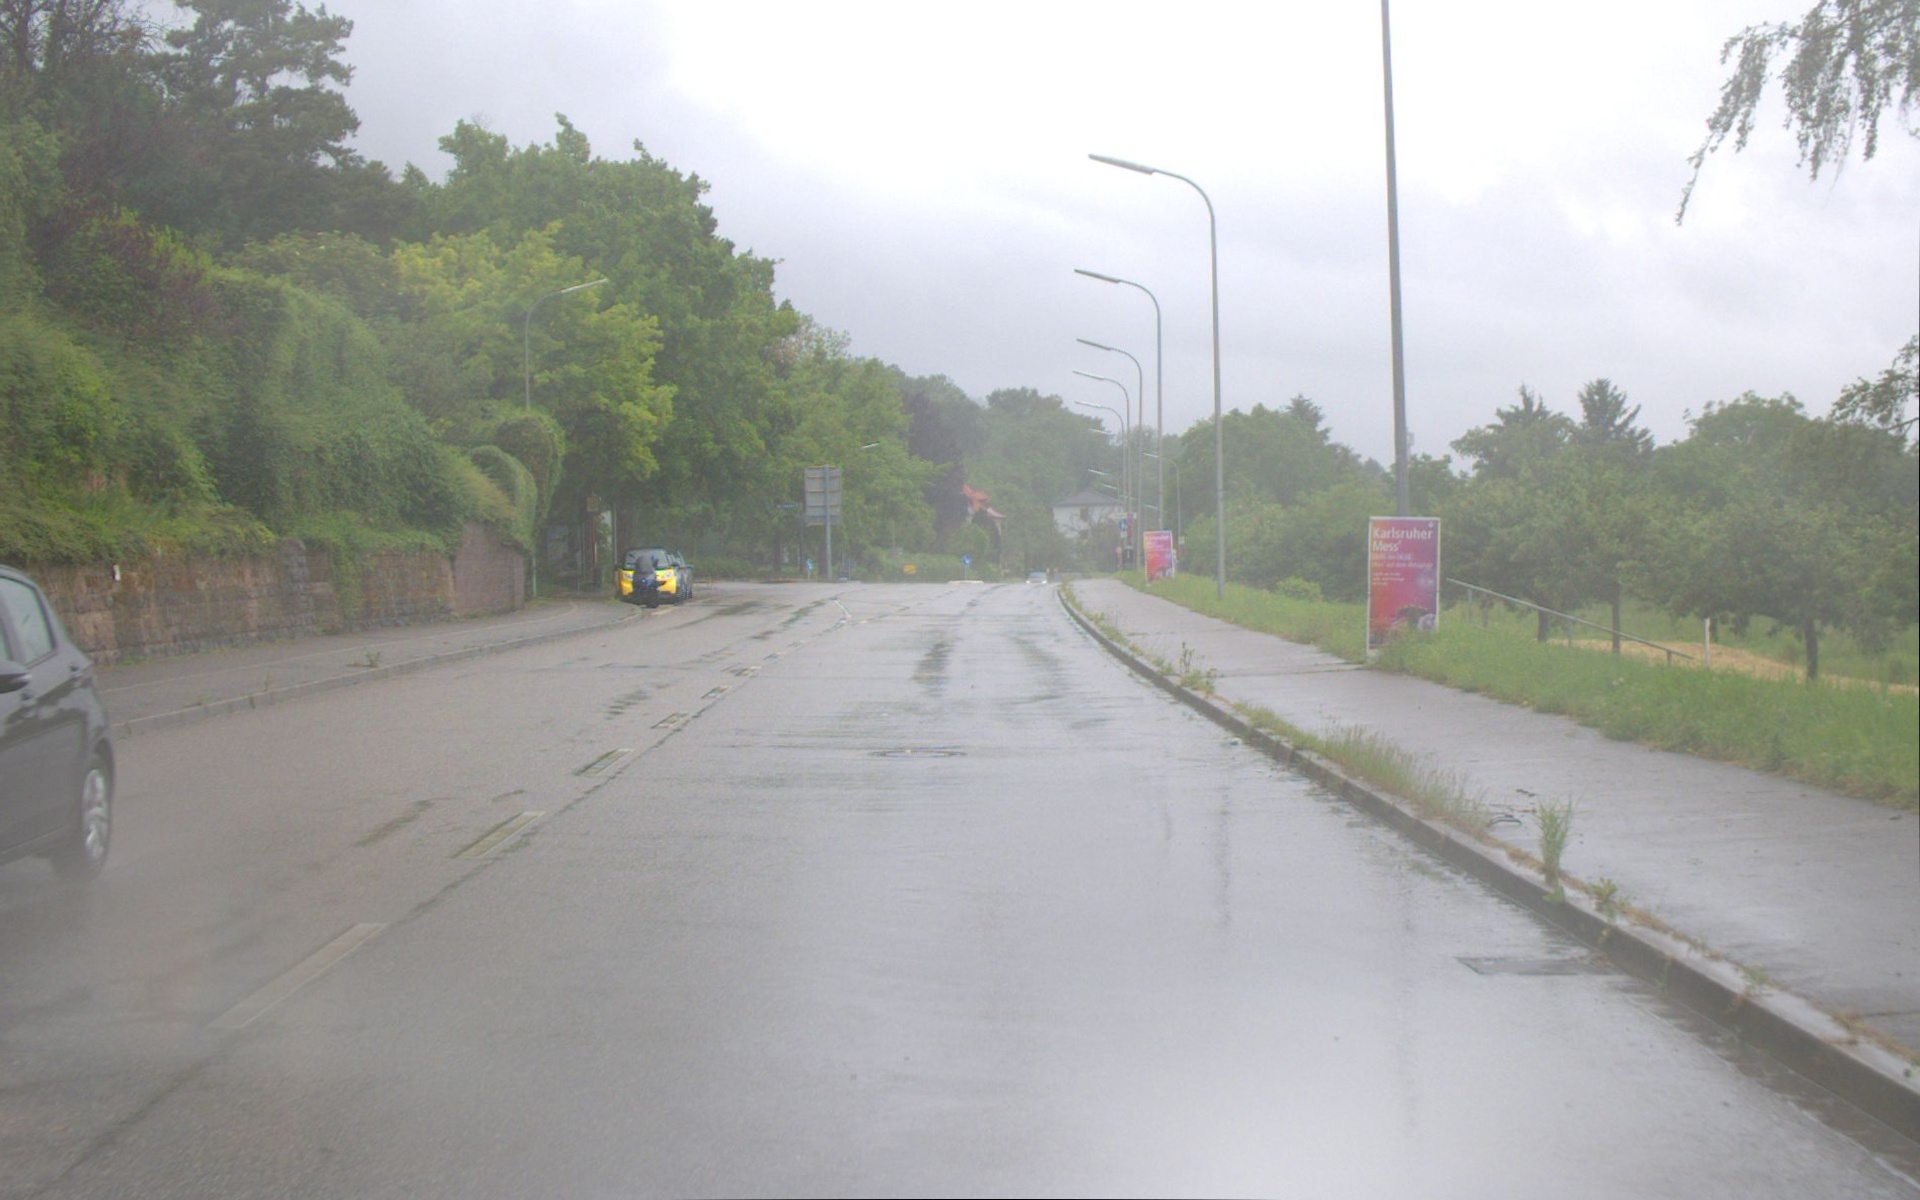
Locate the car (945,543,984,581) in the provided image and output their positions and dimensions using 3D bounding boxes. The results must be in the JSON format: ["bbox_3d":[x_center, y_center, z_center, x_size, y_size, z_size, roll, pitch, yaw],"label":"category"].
[{"bbox_3d":[0.232,-2.037,184.406,1.993,2.007,4.000,0,0,-1],"label":"car"}]

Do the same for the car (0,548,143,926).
[{"bbox_3d":[-4.700,0.546,14.262,1.759,1.491,4.128,-1,1,-2],"label":"car"}]

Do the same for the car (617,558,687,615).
[{"bbox_3d":[-8.385,-0.383,93.793,1.727,1.491,3.988,-1,1,-3],"label":"car"}]
